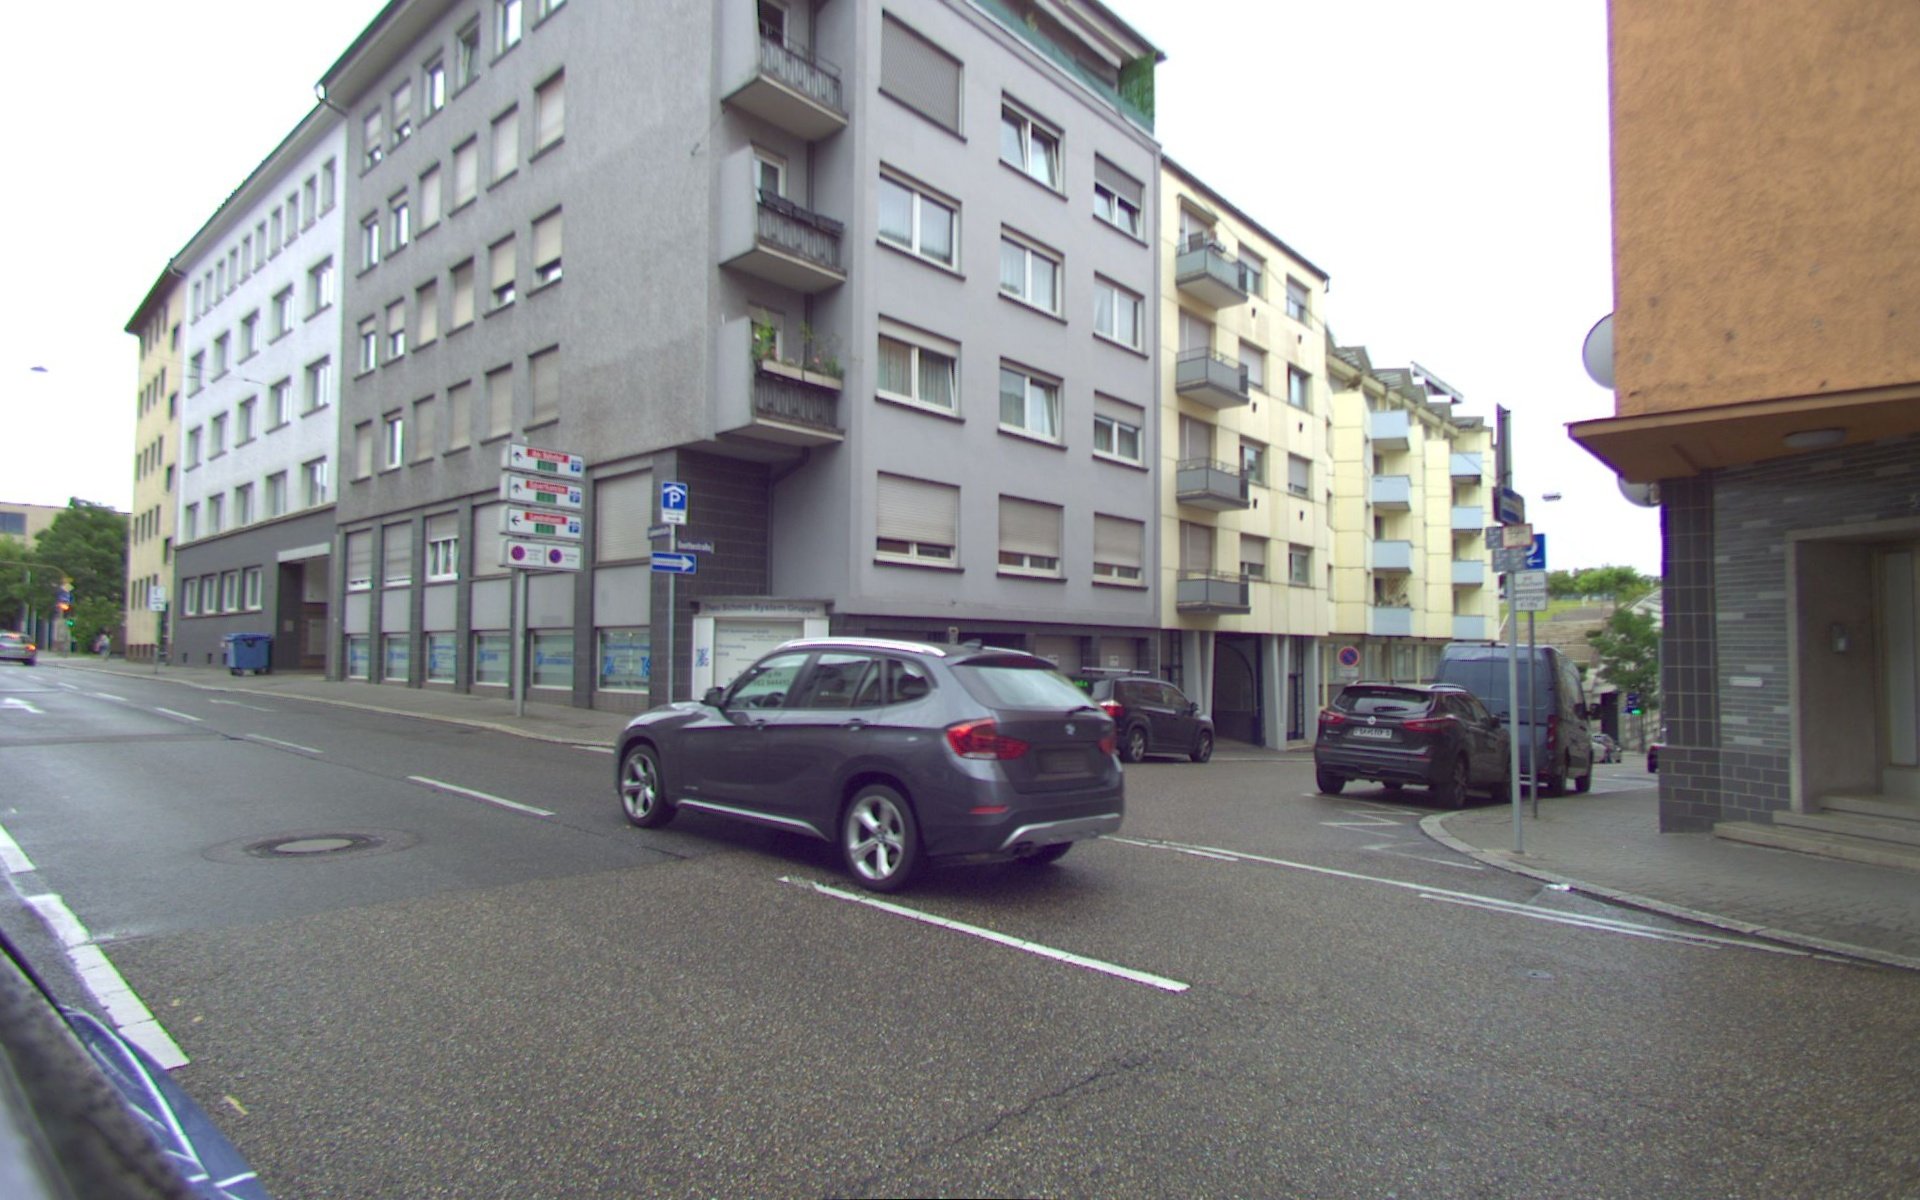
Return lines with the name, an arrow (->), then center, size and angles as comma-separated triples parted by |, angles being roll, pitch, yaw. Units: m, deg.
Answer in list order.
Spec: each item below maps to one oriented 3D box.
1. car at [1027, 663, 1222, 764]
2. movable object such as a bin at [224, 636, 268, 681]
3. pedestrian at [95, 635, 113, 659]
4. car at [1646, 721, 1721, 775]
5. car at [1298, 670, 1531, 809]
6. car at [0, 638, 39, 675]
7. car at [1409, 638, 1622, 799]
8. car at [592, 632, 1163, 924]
car -> 3.339, 2.272, 19.910 | 1.794, 1.700, 4.186 | -1, -8, 41
movable object such as a bin -> -22.863, 1.854, 32.406 | 1.096, 1.343, 0.933 | -1, 0, 41
pedestrian -> -43.188, 2.377, 51.083 | 0.573, 1.158, 0.408 | 5, -5, -34
car -> 25.927, 5.318, 36.225 | 1.817, 1.688, 3.998 | -1, -8, 41
car -> 6.454, 1.942, 14.119 | 1.842, 1.589, 4.098 | -1, -8, 41
car -> -43.997, 2.565, 46.604 | 4.371, 1.602, 1.858 | -1, -3, 41
car -> 10.489, 2.205, 18.807 | 2.249, 2.481, 5.975 | -1, -7, 41
car -> -0.787, 1.049, 7.388 | 4.157, 1.519, 1.685 | -1, -5, 41
